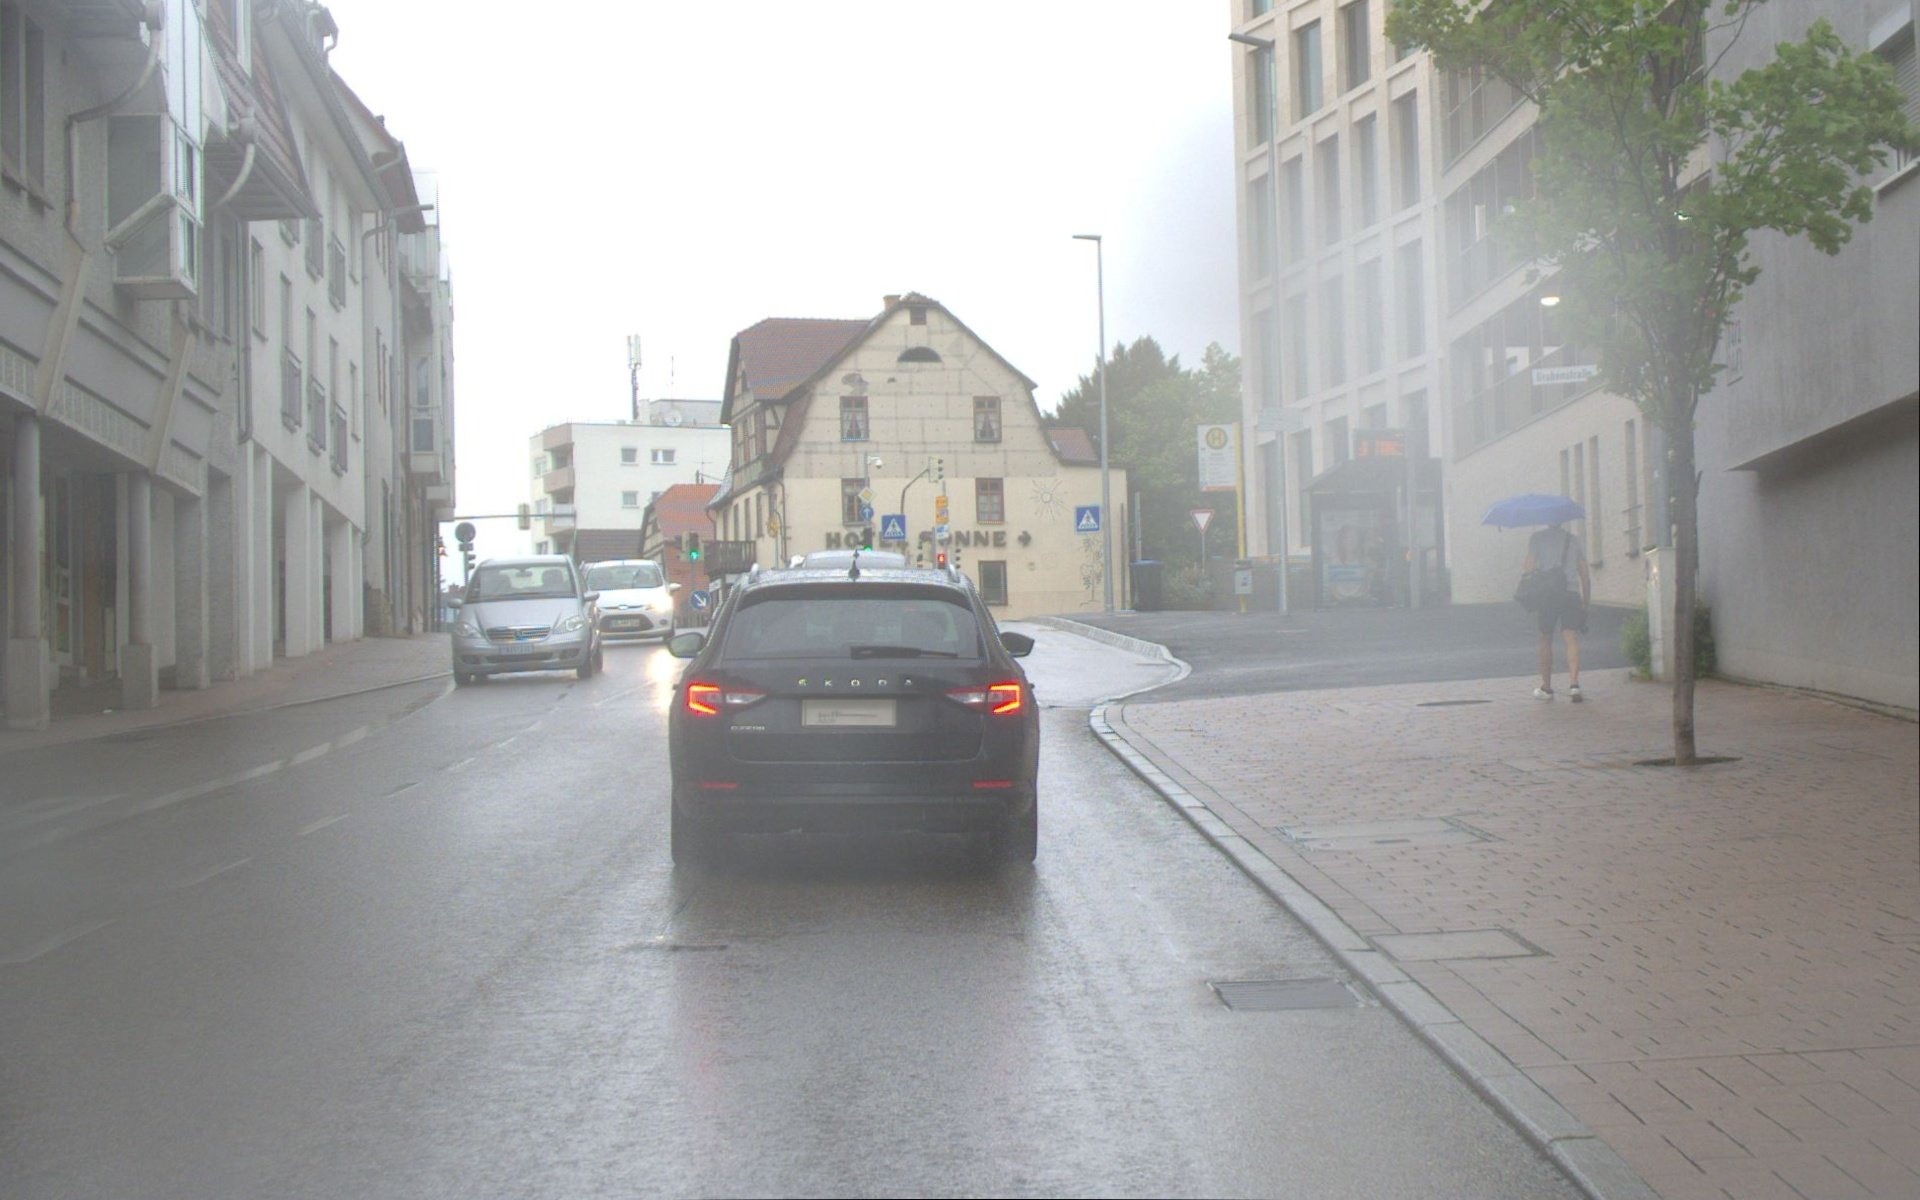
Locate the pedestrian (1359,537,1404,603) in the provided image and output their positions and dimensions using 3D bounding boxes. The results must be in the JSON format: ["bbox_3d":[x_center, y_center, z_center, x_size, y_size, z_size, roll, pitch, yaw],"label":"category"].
[{"bbox_3d":[7.664,-0.543,62.494,0.672,1.158,0.635,-3,0,-1],"label":"pedestrian"}]

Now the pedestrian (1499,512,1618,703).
[{"bbox_3d":[5.063,0.057,29.129,0.736,1.537,1.038,-4,0,2],"label":"pedestrian"}]

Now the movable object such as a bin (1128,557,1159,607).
[{"bbox_3d":[3.925,-0.388,73.510,0.595,1.058,0.579,-2,0,-2],"label":"movable object such as a bin"}]

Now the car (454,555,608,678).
[{"bbox_3d":[-5.579,0.189,44.990,1.677,1.505,3.589,-1,1,-2],"label":"car"}]

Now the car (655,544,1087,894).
[{"bbox_3d":[-0.462,0.514,17.921,1.944,1.561,4.417,-1,1,-1],"label":"car"}]

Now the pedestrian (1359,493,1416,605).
[{"bbox_3d":[7.607,-0.903,61.192,0.782,1.933,1.021,-3,0,-1],"label":"pedestrian"}]

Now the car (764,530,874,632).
[{"bbox_3d":[-2.285,-0.324,56.340,1.680,1.555,4.000,-2,1,-2],"label":"car"}]

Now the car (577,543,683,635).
[{"bbox_3d":[-5.651,-0.207,59.191,1.677,1.505,3.589,-1,1,-4],"label":"car"}]

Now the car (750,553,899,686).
[{"bbox_3d":[-1.678,0.201,41.673,1.677,1.505,3.589,-1,1,-4],"label":"car"}]
